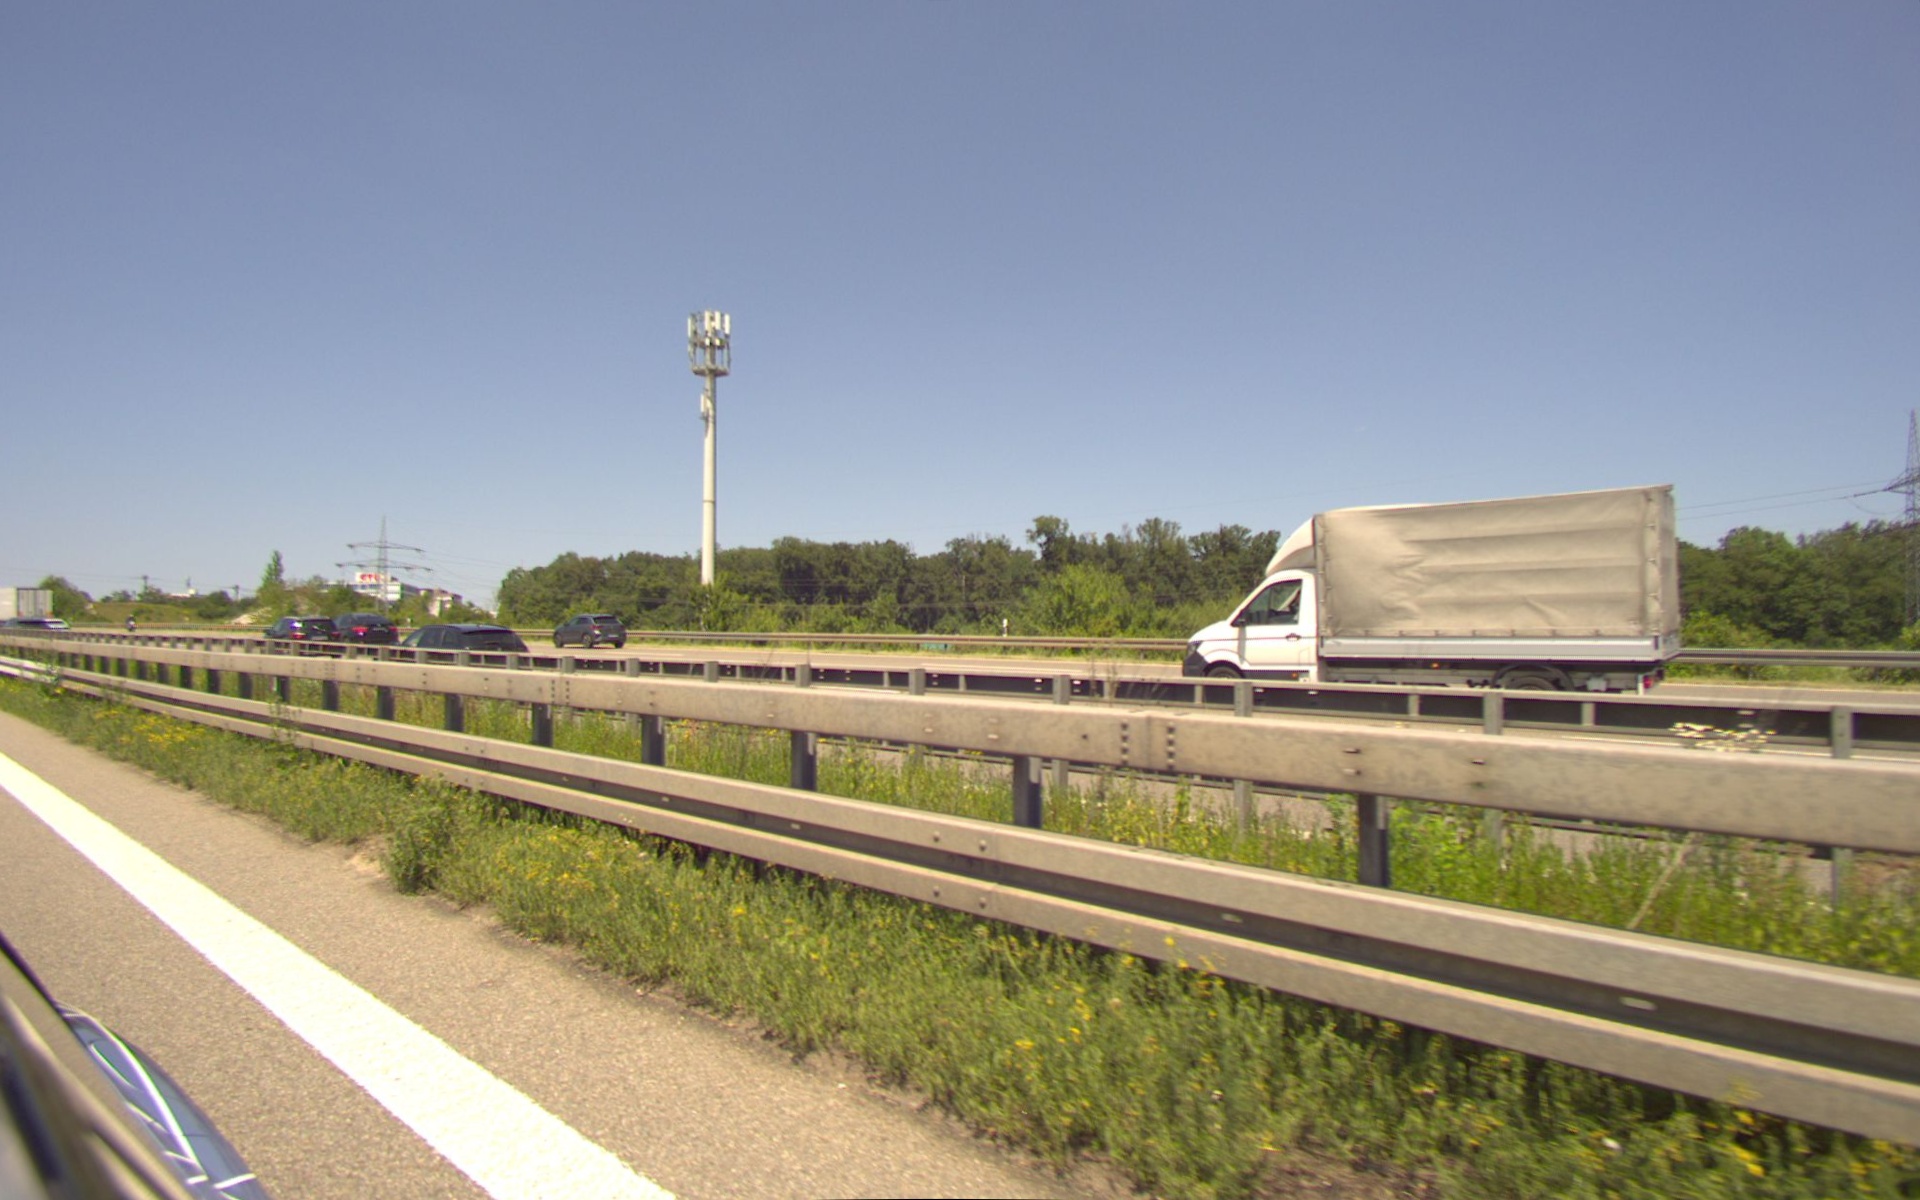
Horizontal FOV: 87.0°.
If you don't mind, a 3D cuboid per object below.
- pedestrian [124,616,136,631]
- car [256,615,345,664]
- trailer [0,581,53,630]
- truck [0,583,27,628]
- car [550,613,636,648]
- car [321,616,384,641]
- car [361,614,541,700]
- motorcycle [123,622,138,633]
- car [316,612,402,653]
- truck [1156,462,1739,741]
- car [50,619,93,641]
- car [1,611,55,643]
[{"bbox_3d":[-77.295,2.183,94.266,1.034,1.326,0.644,-1,-1,40],"label":"pedestrian"},{"bbox_3d":[-24.014,1.386,36.794,4.083,1.637,1.658,0,-1,41],"label":"car"},{"bbox_3d":[-87.106,0.556,93.343,12.229,4.272,3.007,-1,-1,38],"label":"trailer"},{"bbox_3d":[-93.164,0.580,98.073,6.676,4.272,3.006,-1,-1,38],"label":"truck"},{"bbox_3d":[-16.922,1.384,46.613,4.219,1.543,1.829,-1,-1,39],"label":"car"},{"bbox_3d":[-38.301,1.769,63.783,4.368,1.543,2.084,-1,-1,40],"label":"car"},{"bbox_3d":[-11.076,1.135,21.875,4.827,1.637,1.730,0,-1,40],"label":"car"},{"bbox_3d":[-77.253,2.539,94.213,2.485,1.023,0.651,-1,-1,40],"label":"motorcycle"},{"bbox_3d":[-26.063,1.383,43.819,4.909,1.668,1.827,-1,-1,42],"label":"car"},{"bbox_3d":[6.957,0.044,15.387,7.655,3.302,2.352,0,-1,40],"label":"truck"},{"bbox_3d":[-60.538,2.032,68.936,4.756,1.414,1.640,-1,-1,41],"label":"car"},{"bbox_3d":[-49.096,1.393,53.273,4.360,1.627,1.658,0,-1,41],"label":"car"}]
